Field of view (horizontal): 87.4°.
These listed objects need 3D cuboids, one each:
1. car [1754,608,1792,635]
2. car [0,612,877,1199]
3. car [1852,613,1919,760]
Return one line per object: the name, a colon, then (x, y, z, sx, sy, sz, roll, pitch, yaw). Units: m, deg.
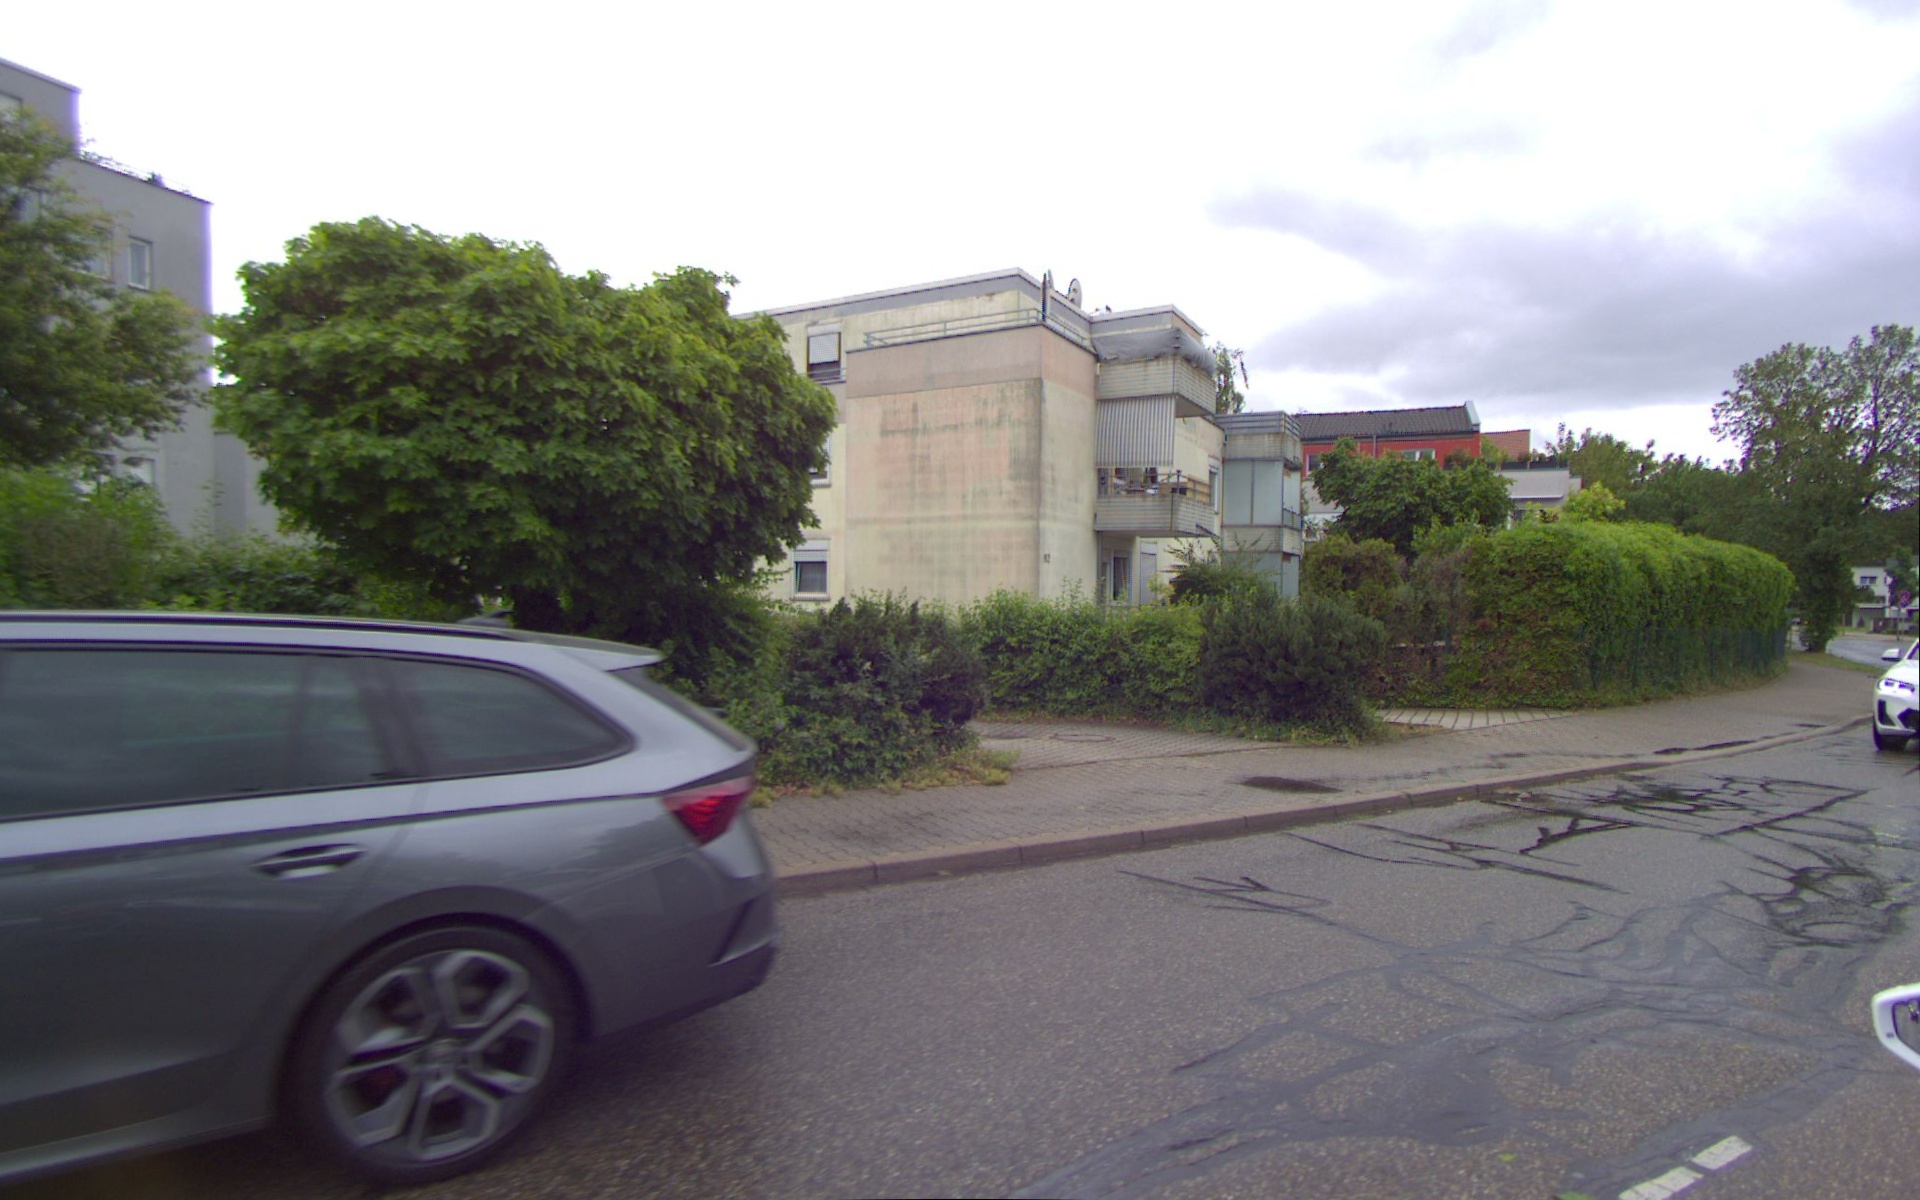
car: (84.626, 2.228, 104.615, 1.964, 2.621, 5.624, -1, 0, 28)
car: (-2.459, 0.774, 2.865, 4.094, 1.433, 1.732, 1, 0, -31)
car: (13.189, 1.015, 12.843, 4.822, 1.633, 1.876, 0, 0, -39)
